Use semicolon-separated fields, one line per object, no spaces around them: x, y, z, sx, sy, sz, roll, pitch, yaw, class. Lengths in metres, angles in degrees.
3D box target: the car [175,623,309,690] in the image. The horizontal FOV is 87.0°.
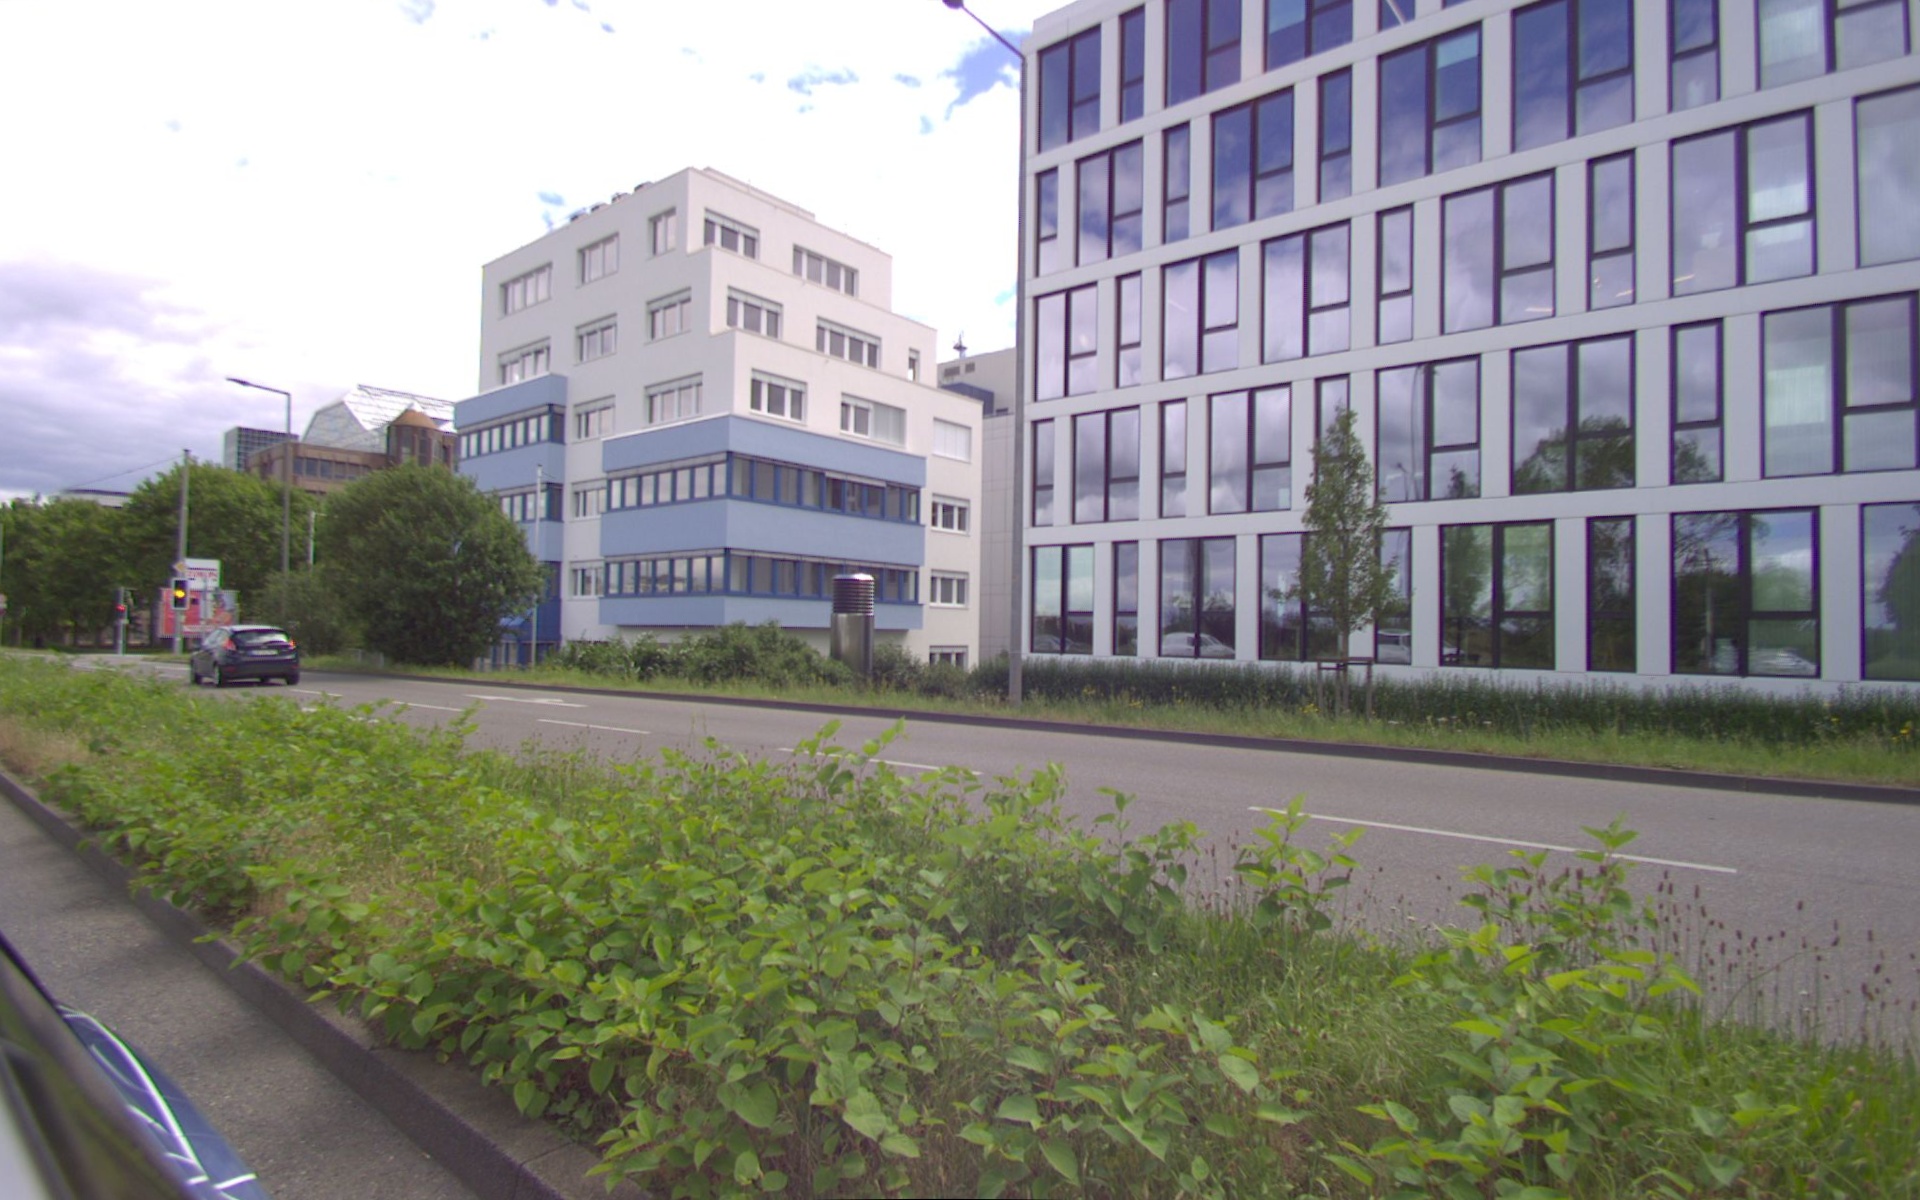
-17.743;1.336;24.949;3.888;1.457;1.737;-1;0;39;car
